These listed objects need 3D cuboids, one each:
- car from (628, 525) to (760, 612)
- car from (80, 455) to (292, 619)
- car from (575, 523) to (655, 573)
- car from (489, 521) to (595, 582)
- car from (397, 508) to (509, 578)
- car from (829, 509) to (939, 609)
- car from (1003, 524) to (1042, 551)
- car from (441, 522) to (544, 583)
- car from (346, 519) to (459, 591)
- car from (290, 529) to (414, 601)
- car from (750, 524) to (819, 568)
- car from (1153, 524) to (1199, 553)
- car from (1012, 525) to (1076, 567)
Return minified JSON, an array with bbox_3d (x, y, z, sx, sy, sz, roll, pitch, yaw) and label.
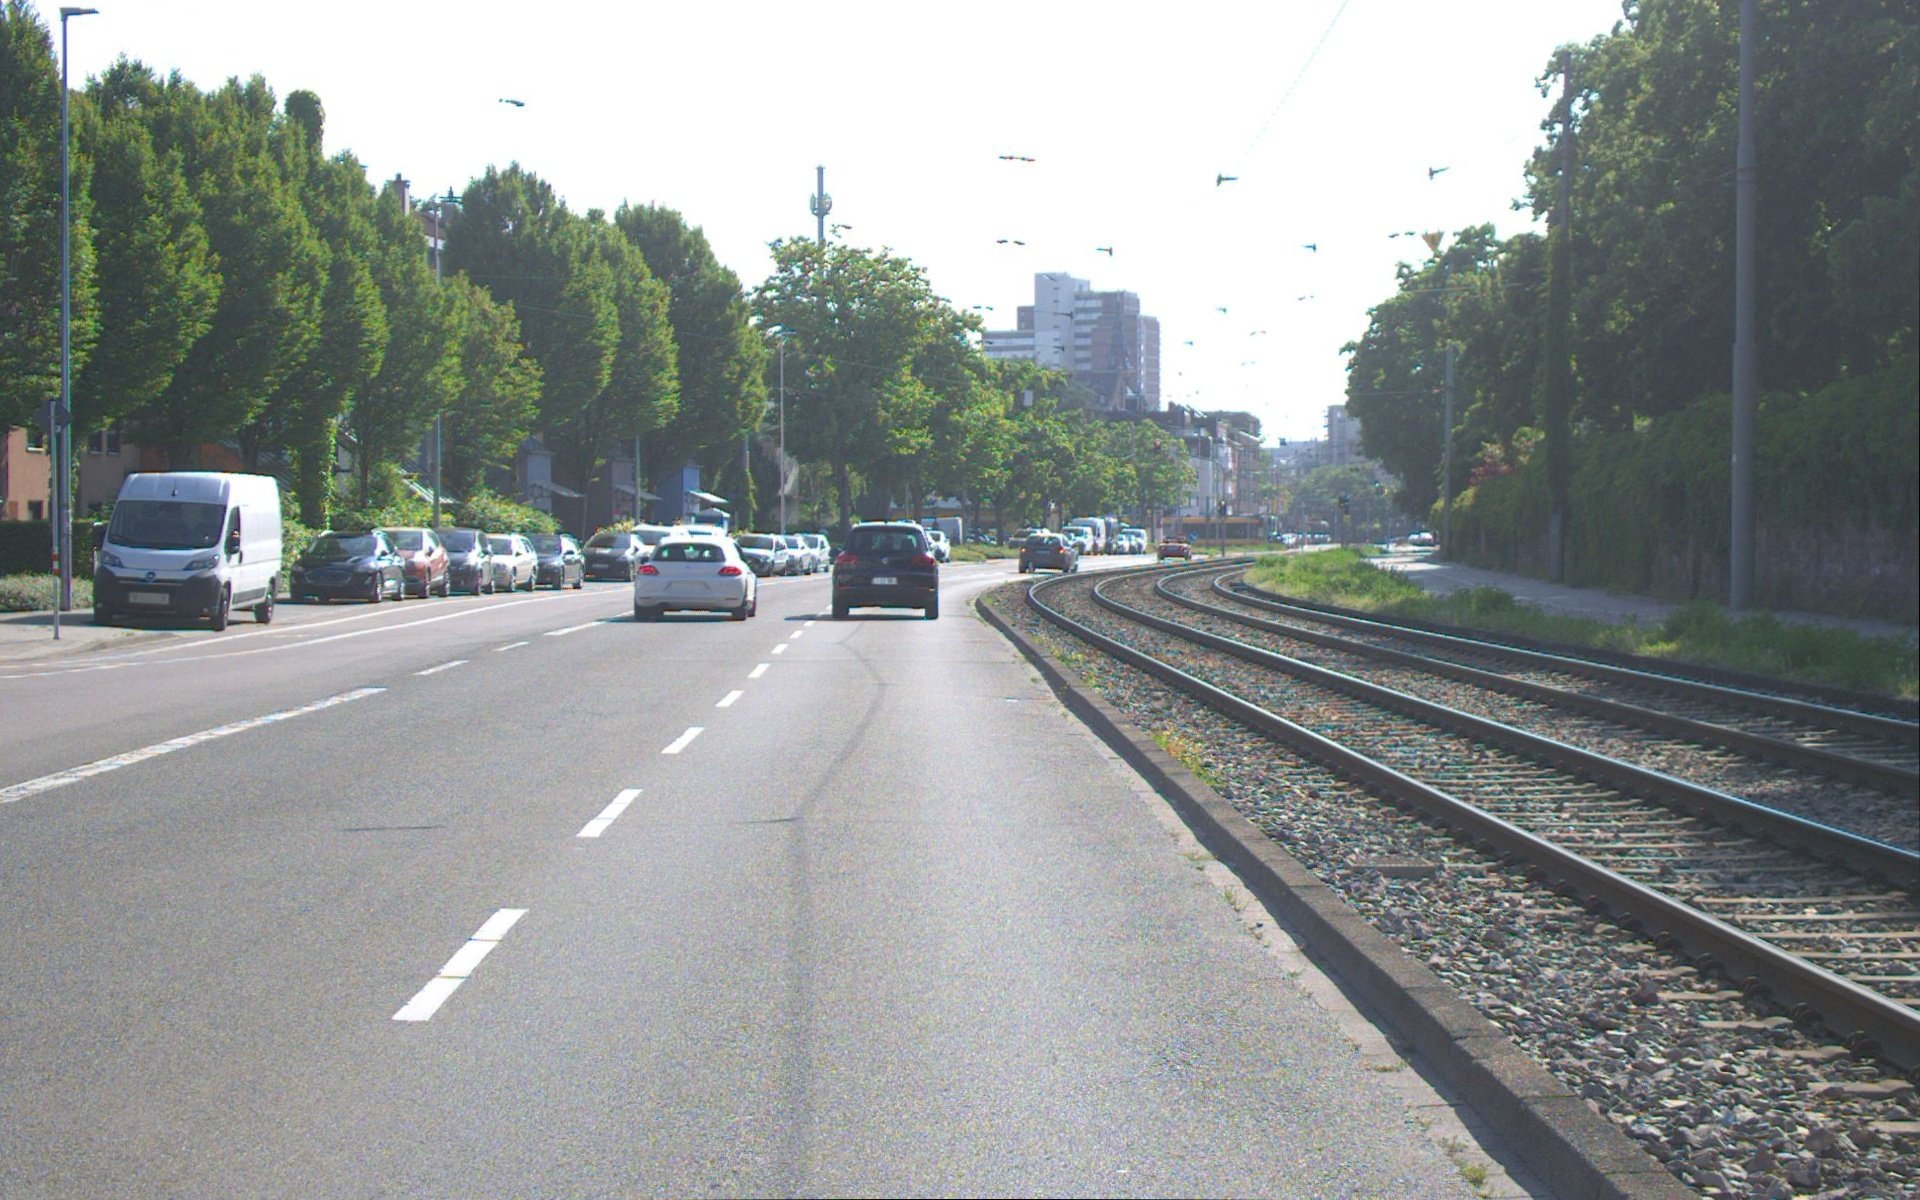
[{"bbox_3d":[-4.335,-0.544,56.517,1.864,1.343,4.000,1,1,0],"label":"car"},{"bbox_3d":[-12.598,-1.058,56.387,2.152,2.449,6.184,2,1,-2],"label":"car"},{"bbox_3d":[-10.527,-1.598,105.121,1.616,1.461,4.057,2,1,6],"label":"car"},{"bbox_3d":[-11.360,-1.337,93.799,1.866,1.539,4.909,2,1,5],"label":"car"},{"bbox_3d":[-12.159,-1.365,82.680,1.762,1.568,4.298,2,1,3],"label":"car"},{"bbox_3d":[-1.278,-0.719,59.123,1.811,1.639,4.000,1,1,0],"label":"car"},{"bbox_3d":[3.780,-3.752,206.122,1.732,1.652,3.999,0,1,10],"label":"car"},{"bbox_3d":[-11.932,-1.196,87.943,1.712,1.466,4.844,2,0,3],"label":"car"},{"bbox_3d":[-12.448,-1.001,76.972,1.762,1.568,4.162,0,1,1],"label":"car"},{"bbox_3d":[-12.558,-0.752,71.230,1.652,1.419,4.713,0,1,1],"label":"car"},{"bbox_3d":[-6.697,-2.072,131.341,1.763,1.533,3.980,5,2,9],"label":"car"},{"bbox_3d":[11.311,-3.211,179.724,1.812,1.444,3.998,2,1,12],"label":"car"},{"bbox_3d":[3.021,-1.949,123.010,1.812,1.444,3.999,2,1,8],"label":"car"}]
